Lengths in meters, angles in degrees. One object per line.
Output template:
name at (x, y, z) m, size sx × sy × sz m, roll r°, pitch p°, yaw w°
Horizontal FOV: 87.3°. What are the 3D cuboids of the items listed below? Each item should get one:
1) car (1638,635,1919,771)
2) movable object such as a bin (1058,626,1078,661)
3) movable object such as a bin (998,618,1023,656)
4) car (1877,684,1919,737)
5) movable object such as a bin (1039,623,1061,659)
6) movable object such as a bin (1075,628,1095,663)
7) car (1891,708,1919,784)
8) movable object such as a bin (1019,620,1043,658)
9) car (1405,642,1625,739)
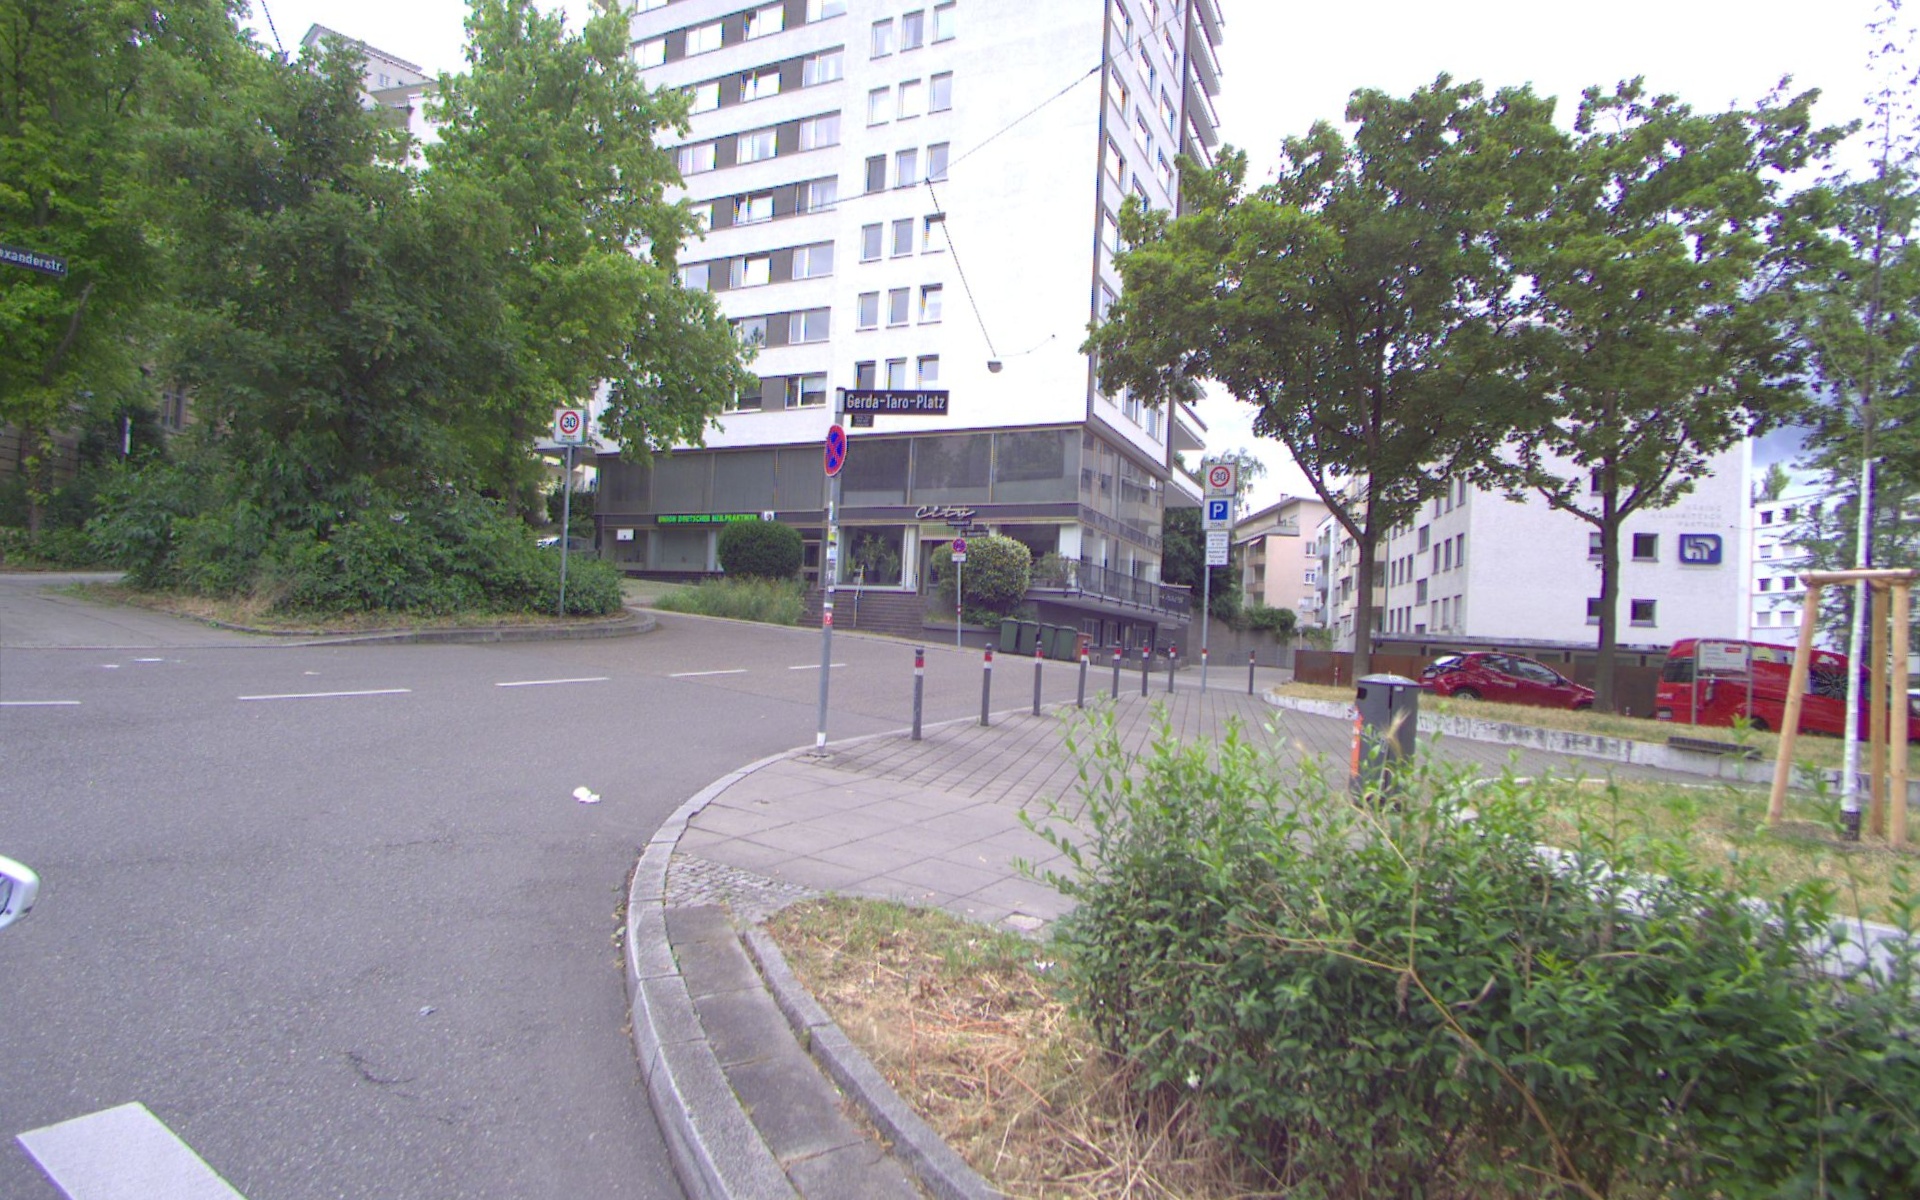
car at (17.796, 2.164, 21.575) m, size 4.801 × 2.241 × 2.127 m, roll 6°, pitch 0°, yaw 2°
movable object such as a bin at (3.315, 1.332, 30.913) m, size 0.485 × 1.037 × 0.547 m, roll 6°, pitch 0°, yaw 10°
movable object such as a bin at (1.551, 1.118, 30.627) m, size 0.599 × 1.092 × 0.554 m, roll 6°, pitch 0°, yaw 10°
car at (37.003, 4.288, 37.600) m, size 2.064 × 1.900 × 4.613 m, roll 6°, pitch 0°, yaw 16°
movable object such as a bin at (2.776, 1.271, 31.000) m, size 0.528 × 1.054 × 0.535 m, roll 6°, pitch 0°, yaw 10°
movable object such as a bin at (3.828, 1.395, 30.823) m, size 0.485 × 1.030 × 0.547 m, roll 6°, pitch 0°, yaw 10°
car at (22.942, 3.411, 21.301) m, size 4.332 × 1.584 × 2.001 m, roll 6°, pitch 0°, yaw 4°
movable object such as a bin at (2.150, 1.189, 30.531) m, size 0.565 × 1.083 × 0.554 m, roll 6°, pitch 0°, yaw 10°
car at (11.959, 1.919, 21.870) m, size 3.646 × 1.584 × 1.749 m, roll 6°, pitch 0°, yaw 4°
